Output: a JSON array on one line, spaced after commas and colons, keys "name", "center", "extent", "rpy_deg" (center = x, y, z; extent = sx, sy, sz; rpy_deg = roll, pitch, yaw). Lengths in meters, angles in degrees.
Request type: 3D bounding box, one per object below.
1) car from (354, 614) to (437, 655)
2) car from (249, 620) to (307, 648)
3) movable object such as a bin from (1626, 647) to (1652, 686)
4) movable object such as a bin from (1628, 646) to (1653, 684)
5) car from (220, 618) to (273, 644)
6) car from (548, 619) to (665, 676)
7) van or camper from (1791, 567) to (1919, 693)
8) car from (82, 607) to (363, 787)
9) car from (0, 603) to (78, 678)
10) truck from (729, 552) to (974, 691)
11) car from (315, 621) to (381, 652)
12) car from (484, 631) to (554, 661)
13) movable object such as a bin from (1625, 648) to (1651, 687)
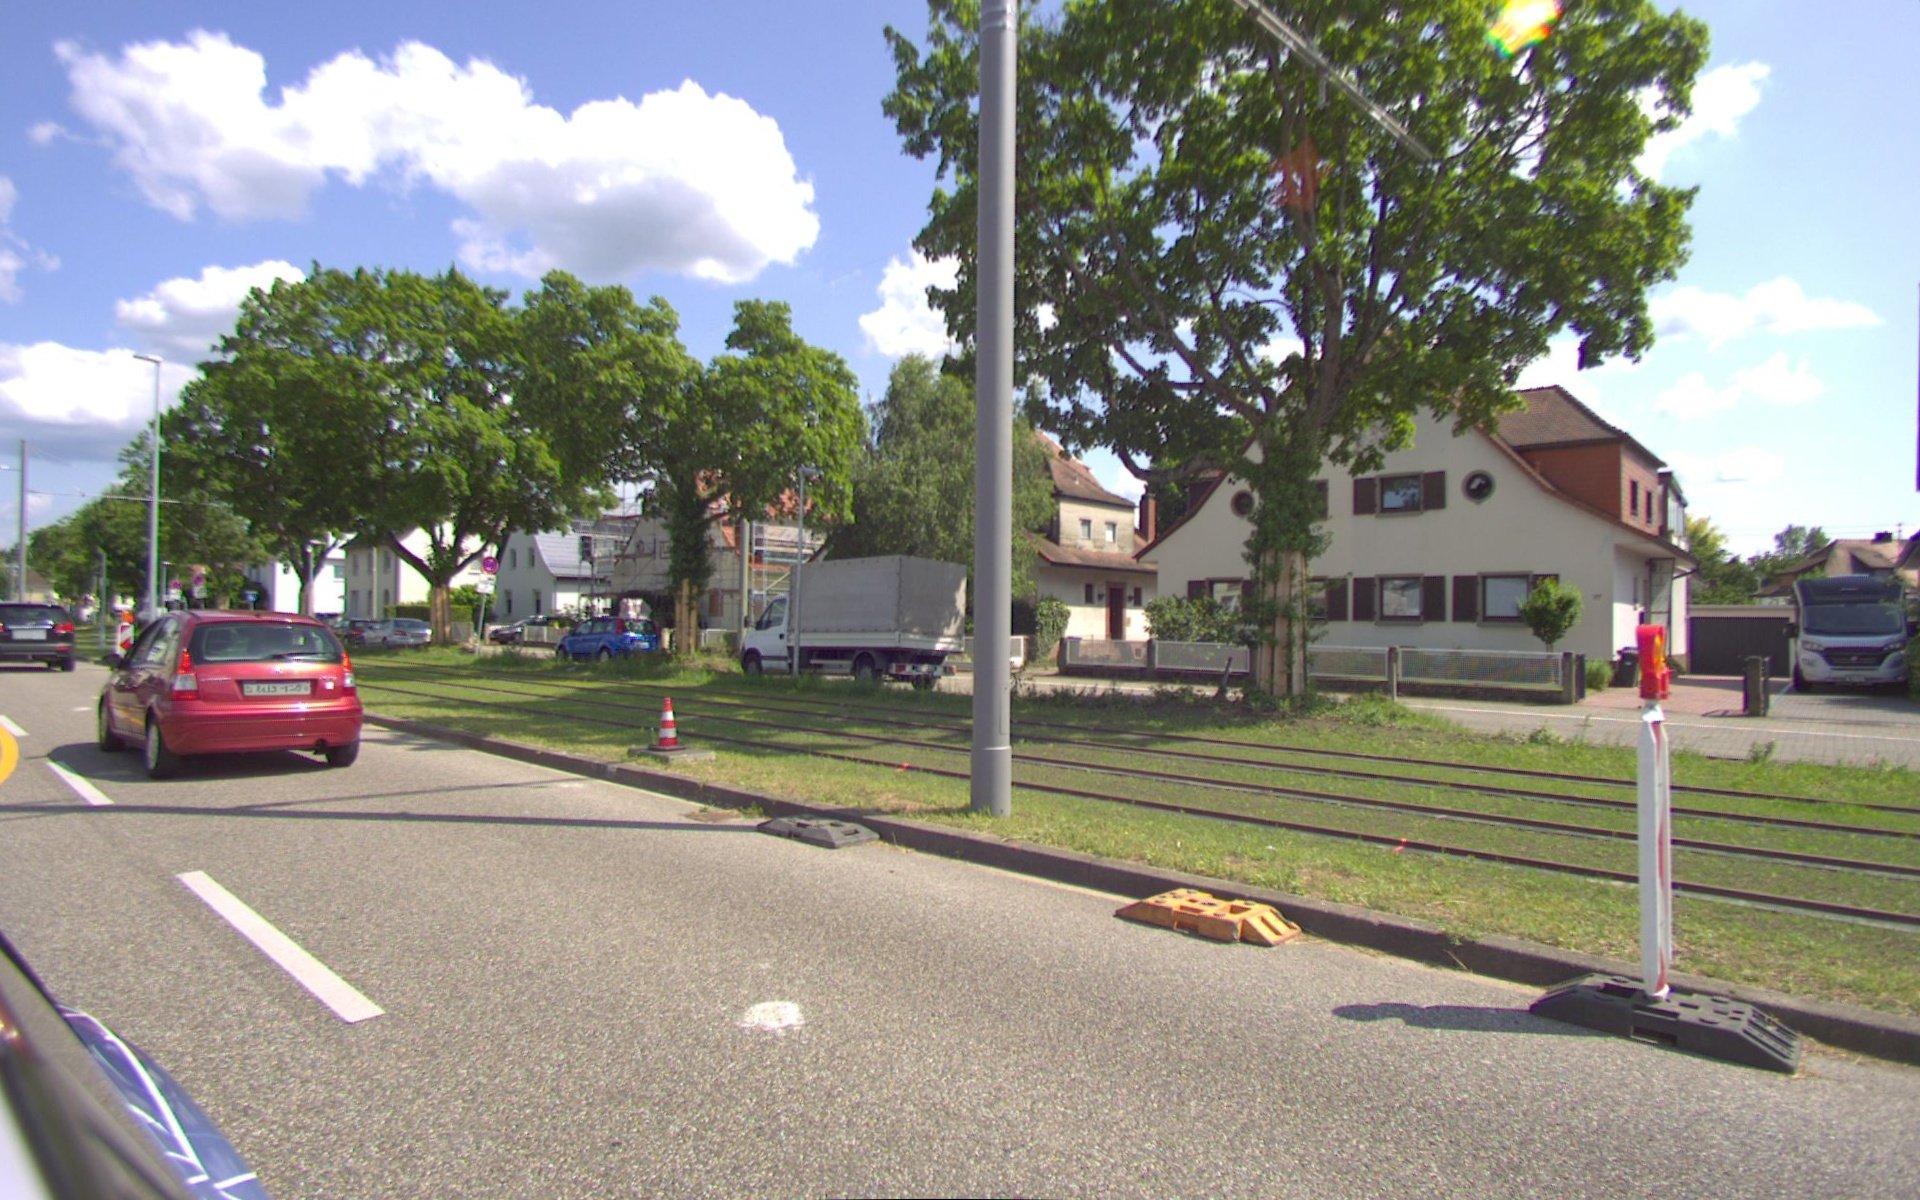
[{"name": "car", "center": [-23.659, 1.397, 42.375], "extent": [4.524, 1.524, 1.685], "rpy_deg": [0, 1, 42]}, {"name": "car", "center": [-35.492, 1.721, 52.639], "extent": [4.000, 1.311, 1.615], "rpy_deg": [0, 1, 43]}, {"name": "movable object such as a bin", "center": [16.229, 1.585, 24.180], "extent": [0.458, 0.874, 0.469], "rpy_deg": [0, 0, 41]}, {"name": "movable object such as a bin", "center": [16.512, 1.580, 24.547], "extent": [0.458, 0.874, 0.469], "rpy_deg": [0, 0, 41]}, {"name": "car", "center": [-39.944, 1.713, 56.658], "extent": [4.000, 1.311, 1.615], "rpy_deg": [0, 1, 43]}, {"name": "car", "center": [-10.657, 1.367, 30.360], "extent": [3.930, 1.524, 1.650], "rpy_deg": [0, 1, 42]}, {"name": "van or camper", "center": [21.575, 0.600, 24.159], "extent": [2.499, 2.652, 6.267], "rpy_deg": [0, 1, 41]}, {"name": "car", "center": [-7.521, 0.840, 10.198], "extent": [3.720, 1.480, 1.561], "rpy_deg": [-1, -2, 43]}, {"name": "car", "center": [-23.335, 0.972, 24.981], "extent": [4.220, 1.703, 1.777], "rpy_deg": [-1, -3, 42]}, {"name": "truck", "center": [-2.656, 0.419, 23.488], "extent": [5.951, 2.826, 2.339], "rpy_deg": [0, 0, 43]}, {"name": "car", "center": [-28.110, 1.640, 46.414], "extent": [3.787, 1.251, 1.603], "rpy_deg": [0, 1, 43]}, {"name": "car", "center": [-22.831, 2.382, 52.523], "extent": [3.190, 1.393, 1.492], "rpy_deg": [-1, 0, -18]}, {"name": "movable object such as a bin", "center": [15.942, 1.590, 23.809], "extent": [0.458, 0.874, 0.469], "rpy_deg": [0, 0, 41]}]
